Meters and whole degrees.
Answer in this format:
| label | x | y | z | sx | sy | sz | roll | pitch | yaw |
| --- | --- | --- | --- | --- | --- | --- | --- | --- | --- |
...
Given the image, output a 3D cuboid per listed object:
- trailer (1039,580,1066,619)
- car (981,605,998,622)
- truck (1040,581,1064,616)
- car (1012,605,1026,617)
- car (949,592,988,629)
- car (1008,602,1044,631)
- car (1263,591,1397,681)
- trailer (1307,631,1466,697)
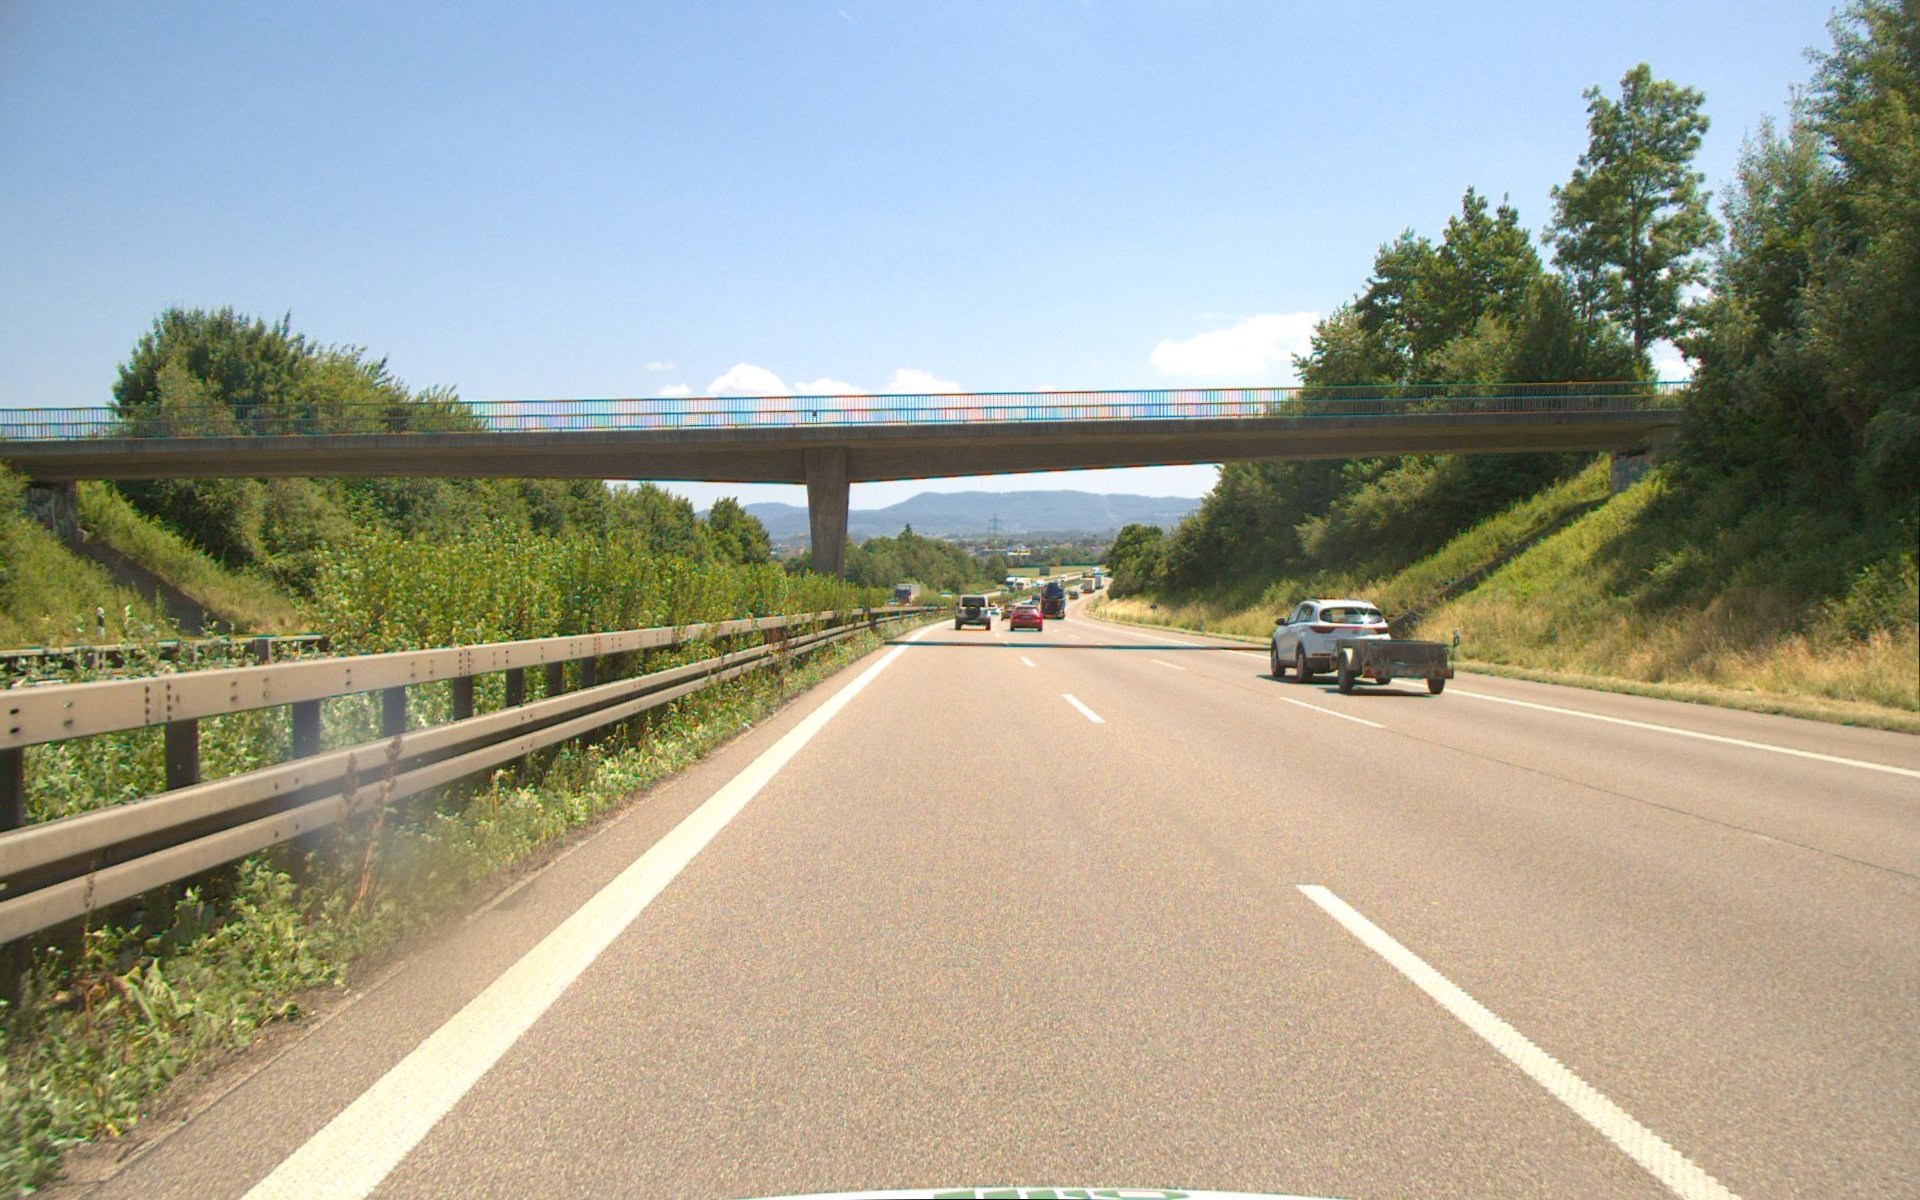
| label | x | y | z | sx | sy | sz | roll | pitch | yaw |
| --- | --- | --- | --- | --- | --- | --- | --- | --- | --- |
| trailer | 10.317 | -0.196 | 185.212 | 2.795 | 4.063 | 15.404 | 1 | 1 | 3 |
| car | 3.818 | 1.776 | 212.846 | 1.661 | 2.048 | 3.826 | 1 | 1 | 10 |
| truck | 10.692 | -0.204 | 192.818 | 2.696 | 3.920 | 6.647 | 1 | 1 | 2 |
| car | 8.874 | 1.641 | 248.246 | 1.600 | 1.734 | 3.404 | 1 | 1 | 10 |
| car | 0.439 | 0.536 | 90.419 | 2.041 | 1.861 | 4.753 | 1 | 1 | -1 |
| car | 3.585 | 0.884 | 90.506 | 1.652 | 1.403 | 3.947 | 1 | 1 | -2 |
| car | 7.655 | 0.687 | 34.621 | 1.745 | 1.679 | 4.402 | 1 | 1 | -1 |
| trailer | 7.699 | 1.133 | 30.258 | 1.718 | 0.924 | 4.319 | 1 | 1 | -1 |
